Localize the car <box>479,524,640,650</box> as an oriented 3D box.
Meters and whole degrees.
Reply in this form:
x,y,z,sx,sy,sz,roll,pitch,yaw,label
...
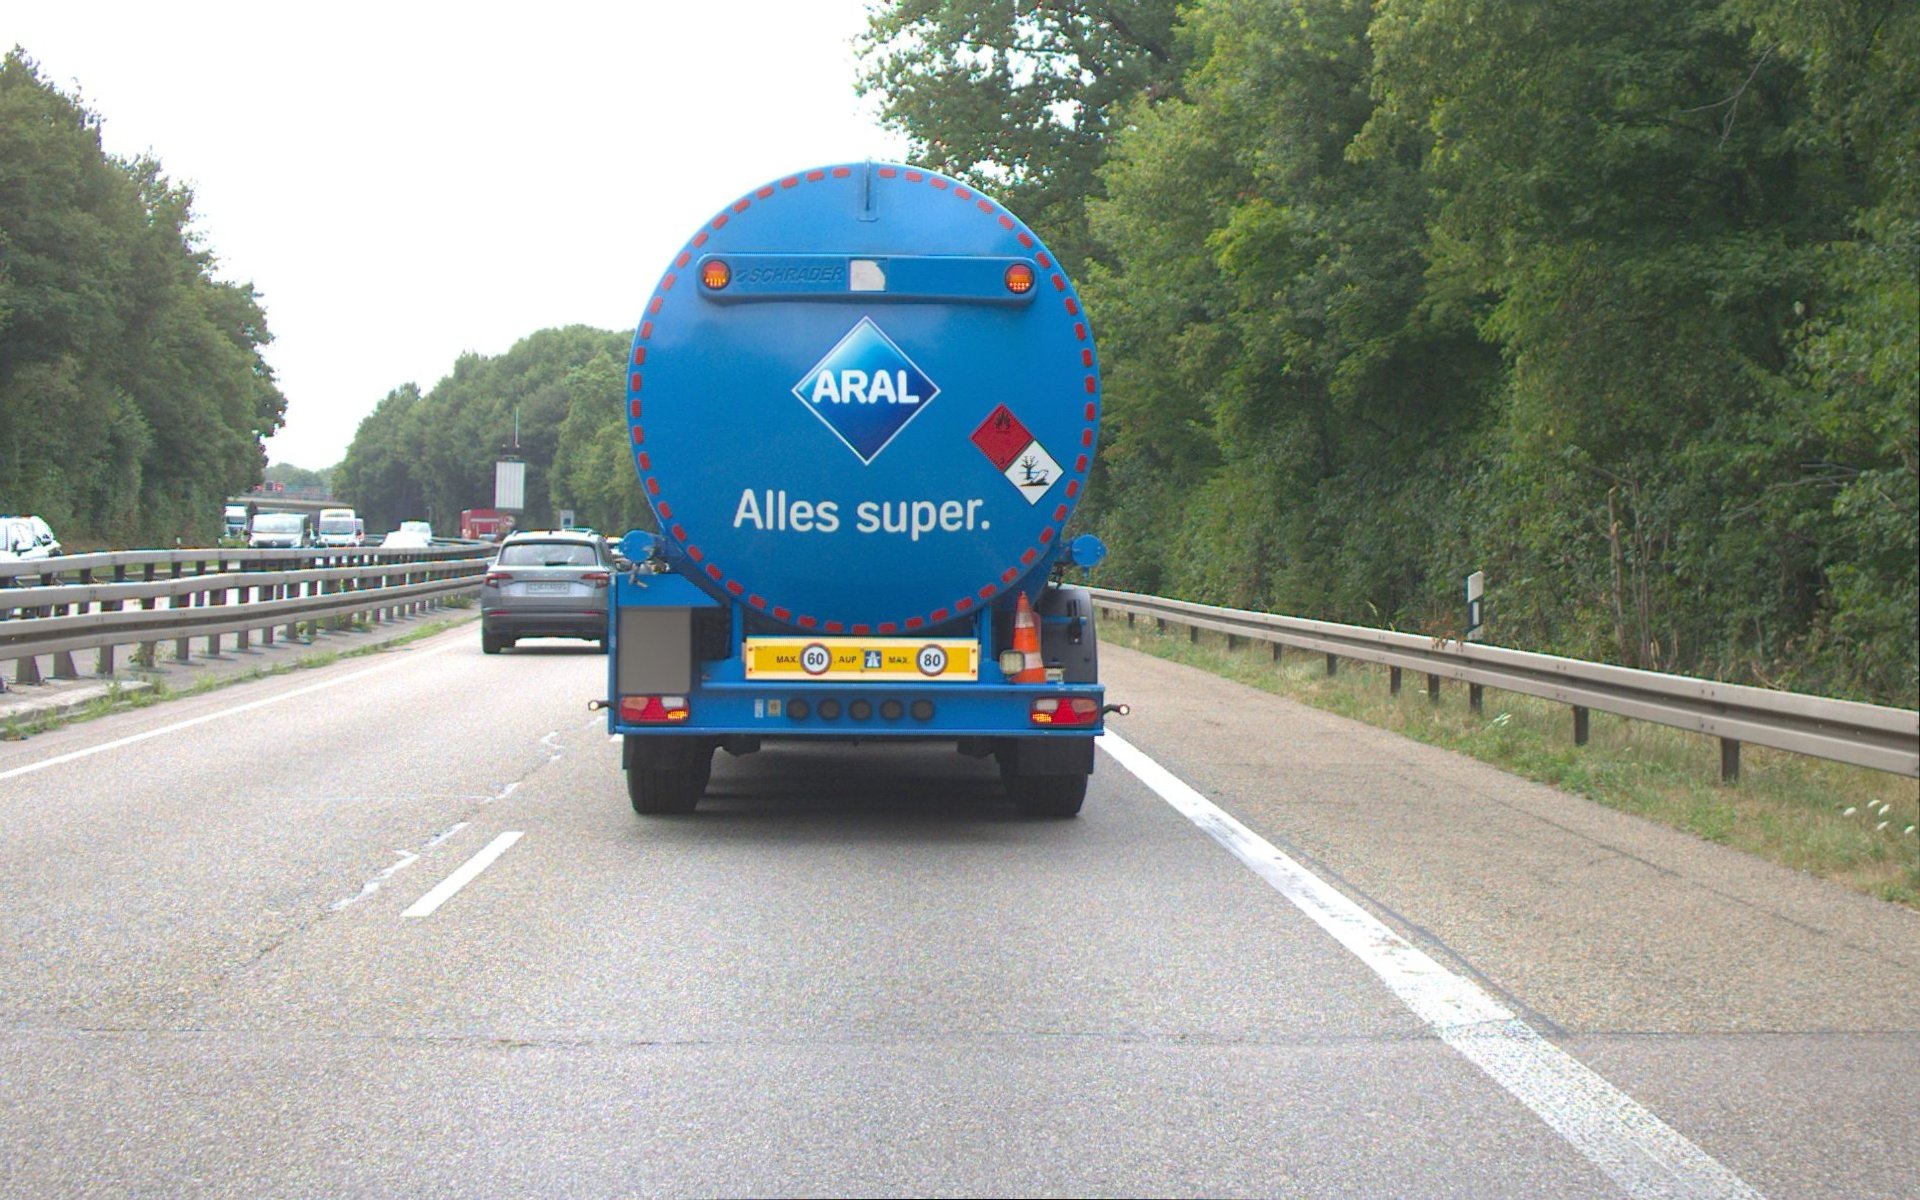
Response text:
x,y,z,sx,sy,sz,roll,pitch,yaw,label
-5.326,-0.191,46.130,1.826,1.604,4.168,0,1,-2,car

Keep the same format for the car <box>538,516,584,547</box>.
x,y,z,sx,sy,sz,roll,pitch,yaw,label
-20.334,-3.489,174.943,1.993,1.547,4.001,0,1,-11,car

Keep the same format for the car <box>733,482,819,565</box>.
x,y,z,sx,sy,sz,roll,pitch,yaw,label
-5.098,-2.110,95.673,1.994,2.237,4.000,0,1,2,car

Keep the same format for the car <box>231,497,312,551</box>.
x,y,z,sx,sy,sz,roll,pitch,yaw,label
-23.738,-2.589,118.632,2.035,1.798,5.124,0,1,-3,car

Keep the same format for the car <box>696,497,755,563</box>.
x,y,z,sx,sy,sz,roll,pitch,yaw,label
-8.094,-2.401,118.971,1.993,2.237,4.001,0,1,-3,car

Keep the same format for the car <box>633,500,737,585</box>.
x,y,z,sx,sy,sz,roll,pitch,yaw,label
-5.335,-1.115,67.121,1.826,1.604,4.168,0,1,-2,car

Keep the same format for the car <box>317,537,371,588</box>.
x,y,z,sx,sy,sz,roll,pitch,yaw,label
-32.564,-1.990,181.911,2.311,2.602,5.554,0,1,-5,car

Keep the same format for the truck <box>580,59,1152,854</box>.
x,y,z,sx,sy,sz,roll,pitch,yaw,label
-0.541,-0.759,20.498,2.755,3.833,7.689,0,1,-1,truck

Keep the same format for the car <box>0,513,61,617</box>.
x,y,z,sx,sy,sz,roll,pitch,yaw,label
-13.946,-0.499,48.306,1.711,1.422,4.057,0,1,-2,car
